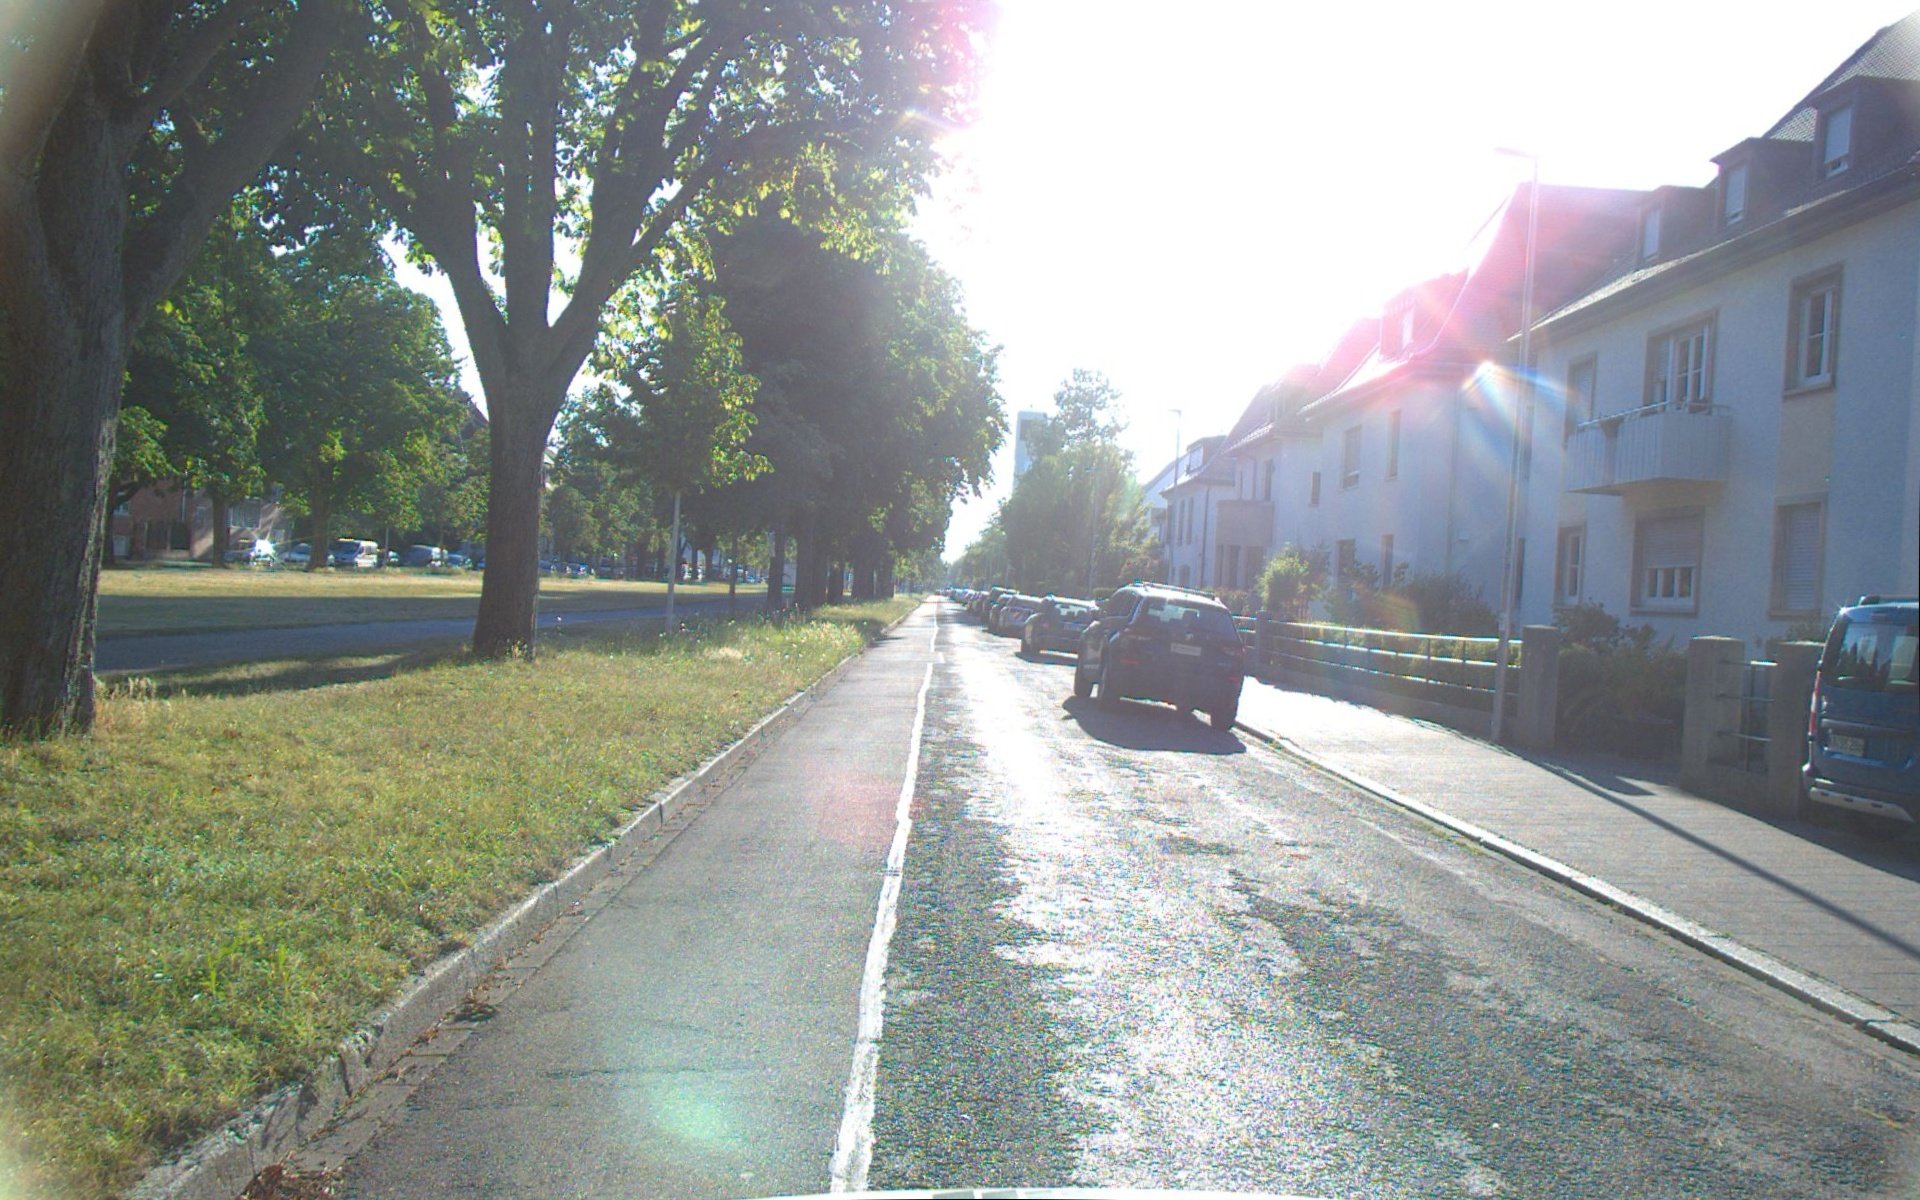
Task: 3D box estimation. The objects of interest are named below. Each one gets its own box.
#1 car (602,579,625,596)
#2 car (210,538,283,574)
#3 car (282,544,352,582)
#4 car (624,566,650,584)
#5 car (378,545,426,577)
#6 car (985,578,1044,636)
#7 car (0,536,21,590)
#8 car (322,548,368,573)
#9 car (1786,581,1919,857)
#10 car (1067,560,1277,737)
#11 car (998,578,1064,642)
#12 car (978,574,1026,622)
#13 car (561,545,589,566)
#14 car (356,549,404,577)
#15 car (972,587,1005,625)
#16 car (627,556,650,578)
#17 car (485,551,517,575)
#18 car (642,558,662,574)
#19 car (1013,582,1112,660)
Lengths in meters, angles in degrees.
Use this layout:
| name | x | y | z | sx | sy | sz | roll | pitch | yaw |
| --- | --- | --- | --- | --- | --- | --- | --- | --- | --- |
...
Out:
| name | x | y | z | sx | sy | sz | roll | pitch | yaw |
| --- | --- | --- | --- | --- | --- | --- | --- | --- | --- |
| car | -40.759 | -1.505 | 194.452 | 1.842 | 1.782 | 3.796 | 5 | -1 | -1 |
| car | -39.491 | -2.417 | 91.680 | 1.953 | 1.687 | 4.355 | 5 | 0 | 1 |
| car | -33.627 | -1.893 | 86.566 | 1.982 | 1.687 | 3.983 | 5 | -1 | 0 |
| car | -34.980 | -2.700 | 179.188 | 1.953 | 1.764 | 3.999 | 4 | 0 | -1 |
| car | -35.688 | -2.466 | 105.874 | 1.694 | 1.718 | 3.876 | 5 | -2 | -3 |
| car | 2.140 | 0.292 | 66.031 | 1.954 | 2.048 | 3.998 | 5 | -1 | -2 |
| car | -33.853 | -1.353 | 55.878 | 1.775 | 1.811 | 4.122 | 5 | -1 | 0 |
| car | -40.105 | -2.564 | 107.903 | 1.649 | 1.365 | 3.470 | 6 | 0 | -1 |
| car | 8.345 | 0.958 | 11.970 | 3.910 | 1.854 | 1.757 | 3 | -5 | -5 |
| car | 2.773 | 0.563 | 22.696 | 1.955 | 1.935 | 4.388 | 8 | 1 | -2 |
| car | 2.541 | 0.366 | 60.387 | 1.954 | 2.048 | 3.998 | 5 | -1 | -2 |
| car | 2.007 | -0.087 | 80.192 | 1.954 | 2.048 | 3.998 | 5 | -1 | -2 |
| car | -41.669 | -4.756 | 178.990 | 1.954 | 1.946 | 3.999 | 5 | -1 | -1 |
| car | -40.460 | -2.586 | 115.530 | 1.954 | 1.646 | 3.998 | 6 | 0 | -3 |
| car | 1.707 | 0.368 | 99.377 | 1.657 | 2.048 | 3.624 | 5 | -1 | -1 |
| car | -33.556 | -3.471 | 172.704 | 1.621 | 1.971 | 3.566 | 5 | -2 | -2 |
| car | -39.512 | -3.172 | 142.463 | 1.695 | 1.792 | 3.345 | 5 | -1 | -1 |
| car | -43.278 | -4.733 | 232.674 | 1.953 | 2.048 | 3.999 | 4 | 0 | -1 |
| car | 2.432 | 0.490 | 40.141 | 1.954 | 1.682 | 3.998 | 4 | 0 | -2 |
